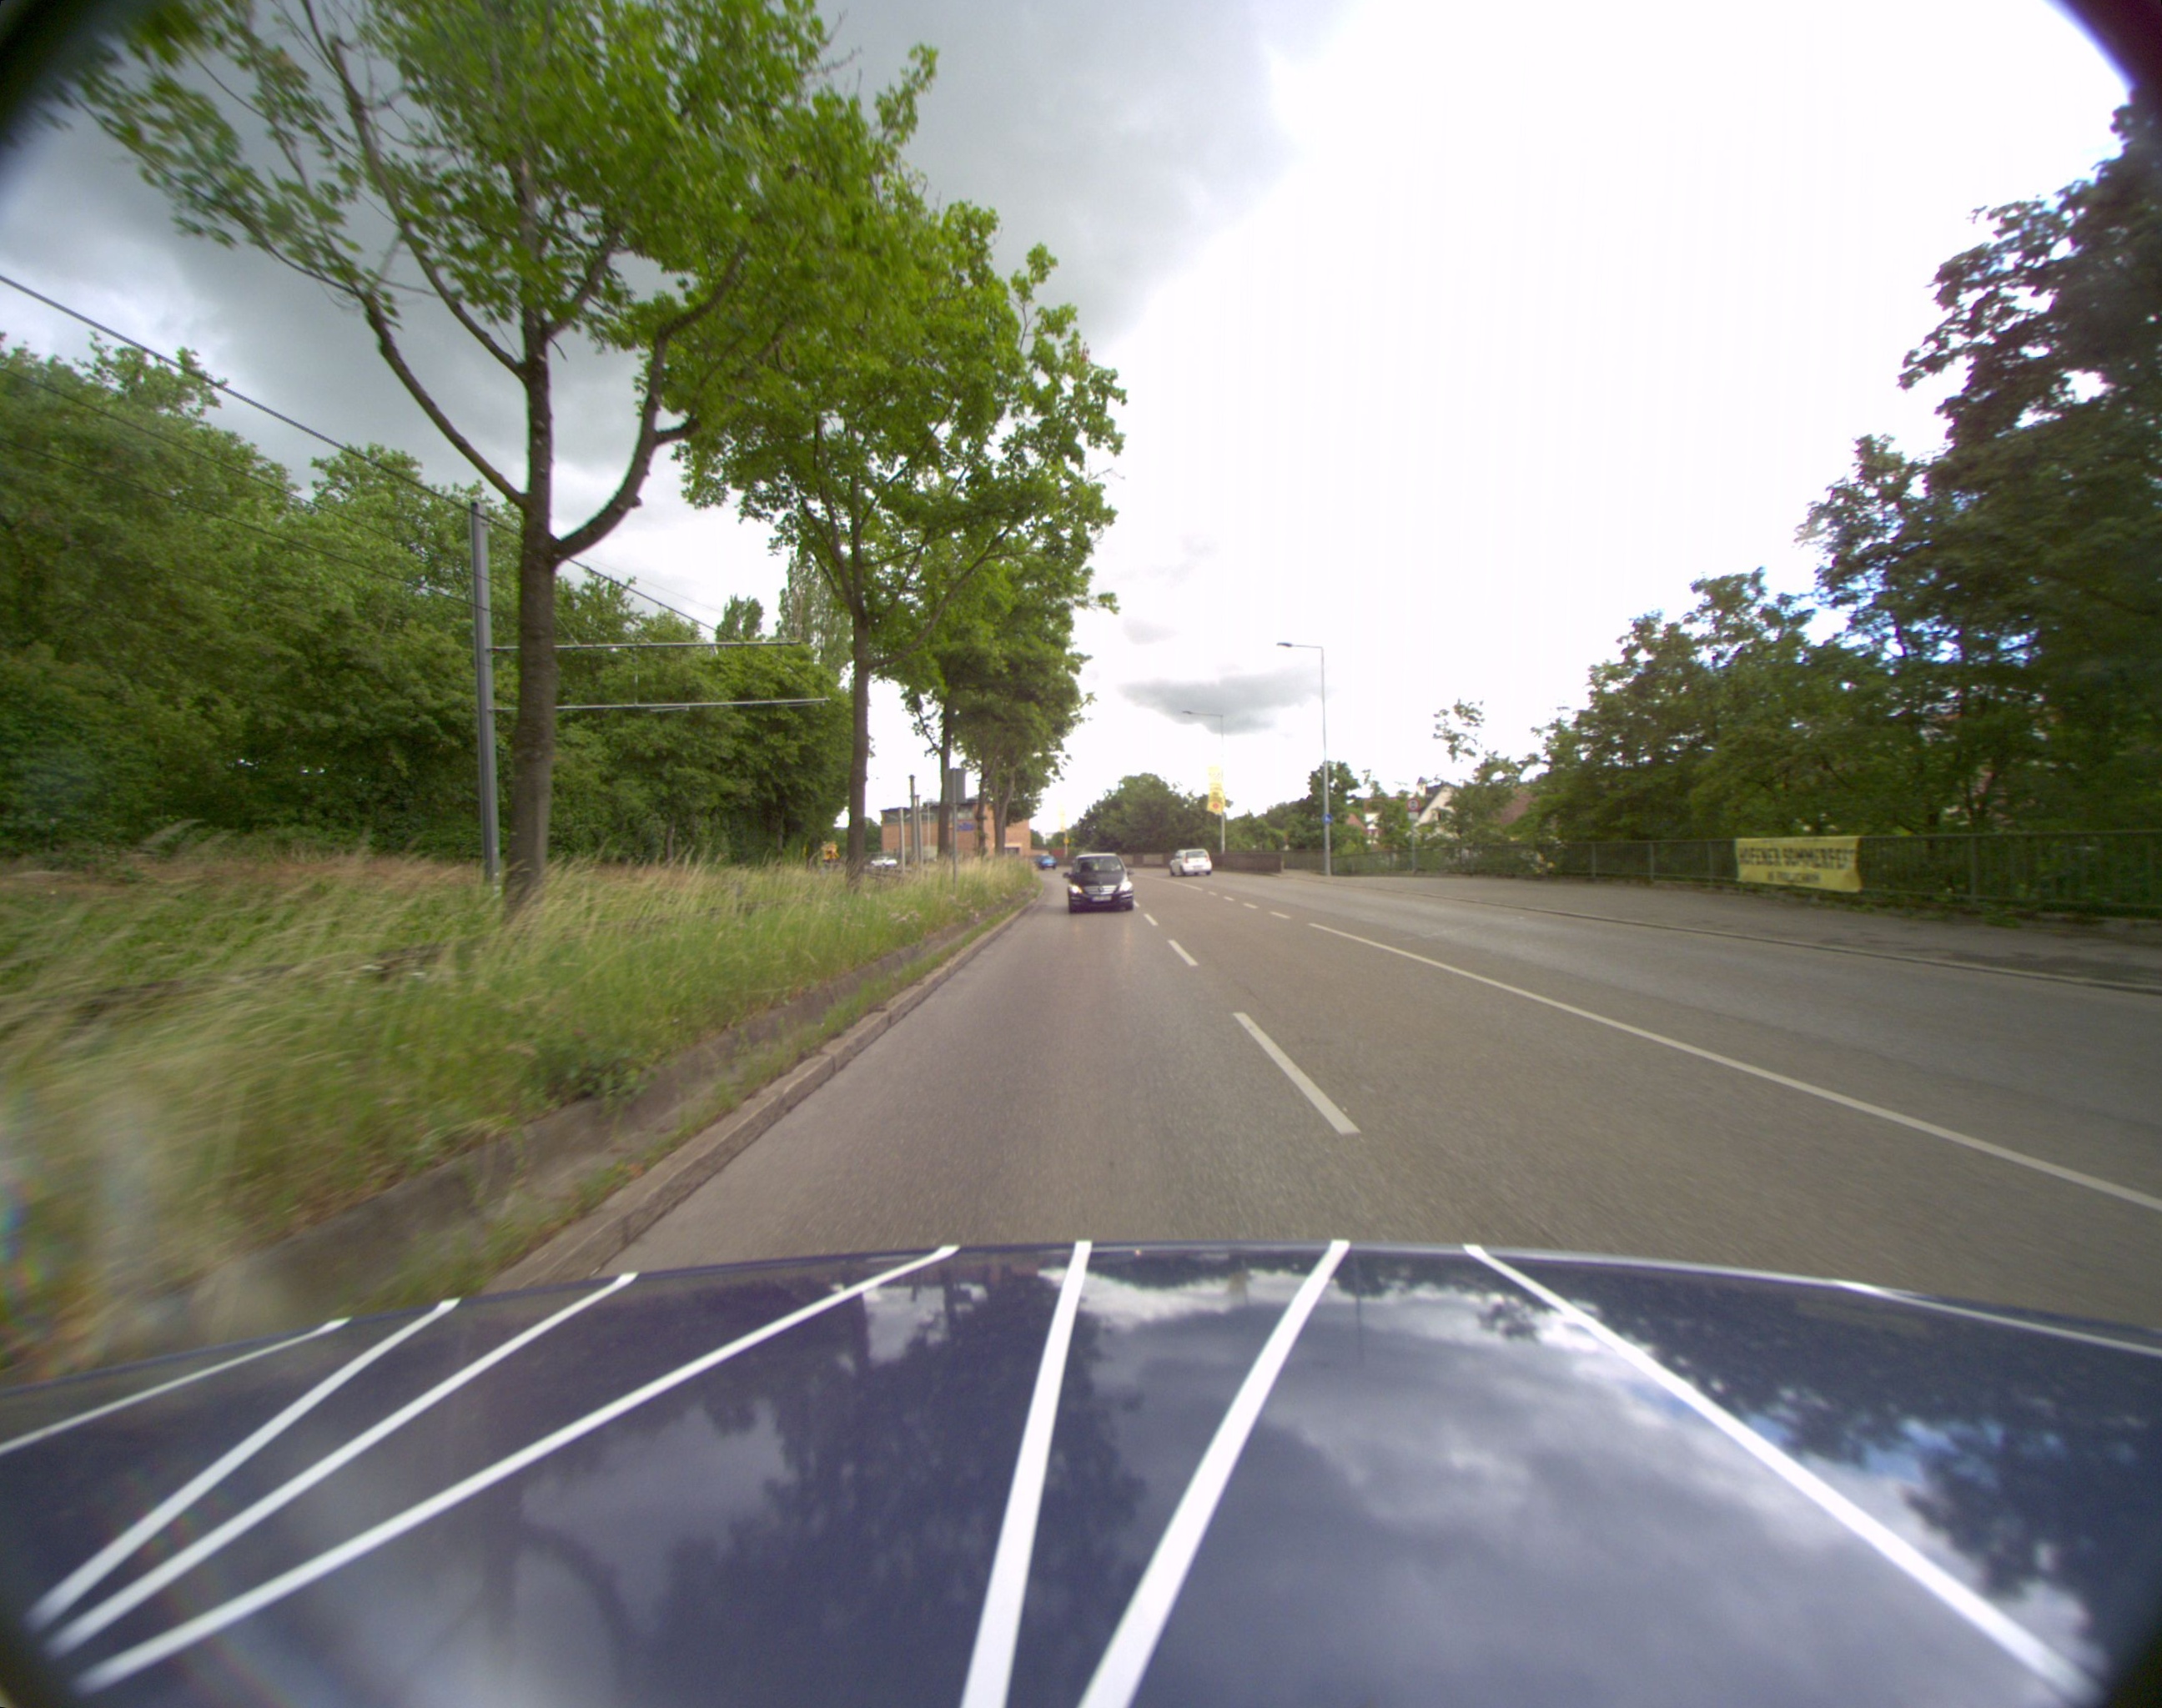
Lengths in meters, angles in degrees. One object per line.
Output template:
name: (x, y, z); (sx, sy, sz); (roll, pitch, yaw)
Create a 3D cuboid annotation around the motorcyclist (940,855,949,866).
motorcyclist: (-16.519, 0.808, 91.885); (0.838, 1.348, 0.622); (-1, 1, 43)

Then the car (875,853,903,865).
car: (-25.619, 0.678, 101.222); (3.644, 1.478, 1.756); (-3, 1, 42)

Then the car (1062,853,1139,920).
car: (0.445, 0.807, 21.120); (1.752, 1.556, 4.073); (-4, 1, -3)

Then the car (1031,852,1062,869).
car: (-3.367, 0.634, 73.430); (1.587, 1.477, 3.689); (-4, 1, -25)

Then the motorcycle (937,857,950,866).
motorcycle: (-16.685, 0.903, 92.065); (1.715, 1.055, 0.686); (-1, 1, 43)

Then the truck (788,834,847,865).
truck: (-39.059, -0.598, 112.429); (10.111, 3.916, 2.682); (-3, 2, 37)

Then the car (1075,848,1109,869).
car: (0.911, 0.394, 64.473); (1.726, 1.598, 4.008); (-3, 1, -17)

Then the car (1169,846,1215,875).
car: (6.203, 0.364, 42.889); (1.585, 1.457, 3.694); (-5, 0, -6)
